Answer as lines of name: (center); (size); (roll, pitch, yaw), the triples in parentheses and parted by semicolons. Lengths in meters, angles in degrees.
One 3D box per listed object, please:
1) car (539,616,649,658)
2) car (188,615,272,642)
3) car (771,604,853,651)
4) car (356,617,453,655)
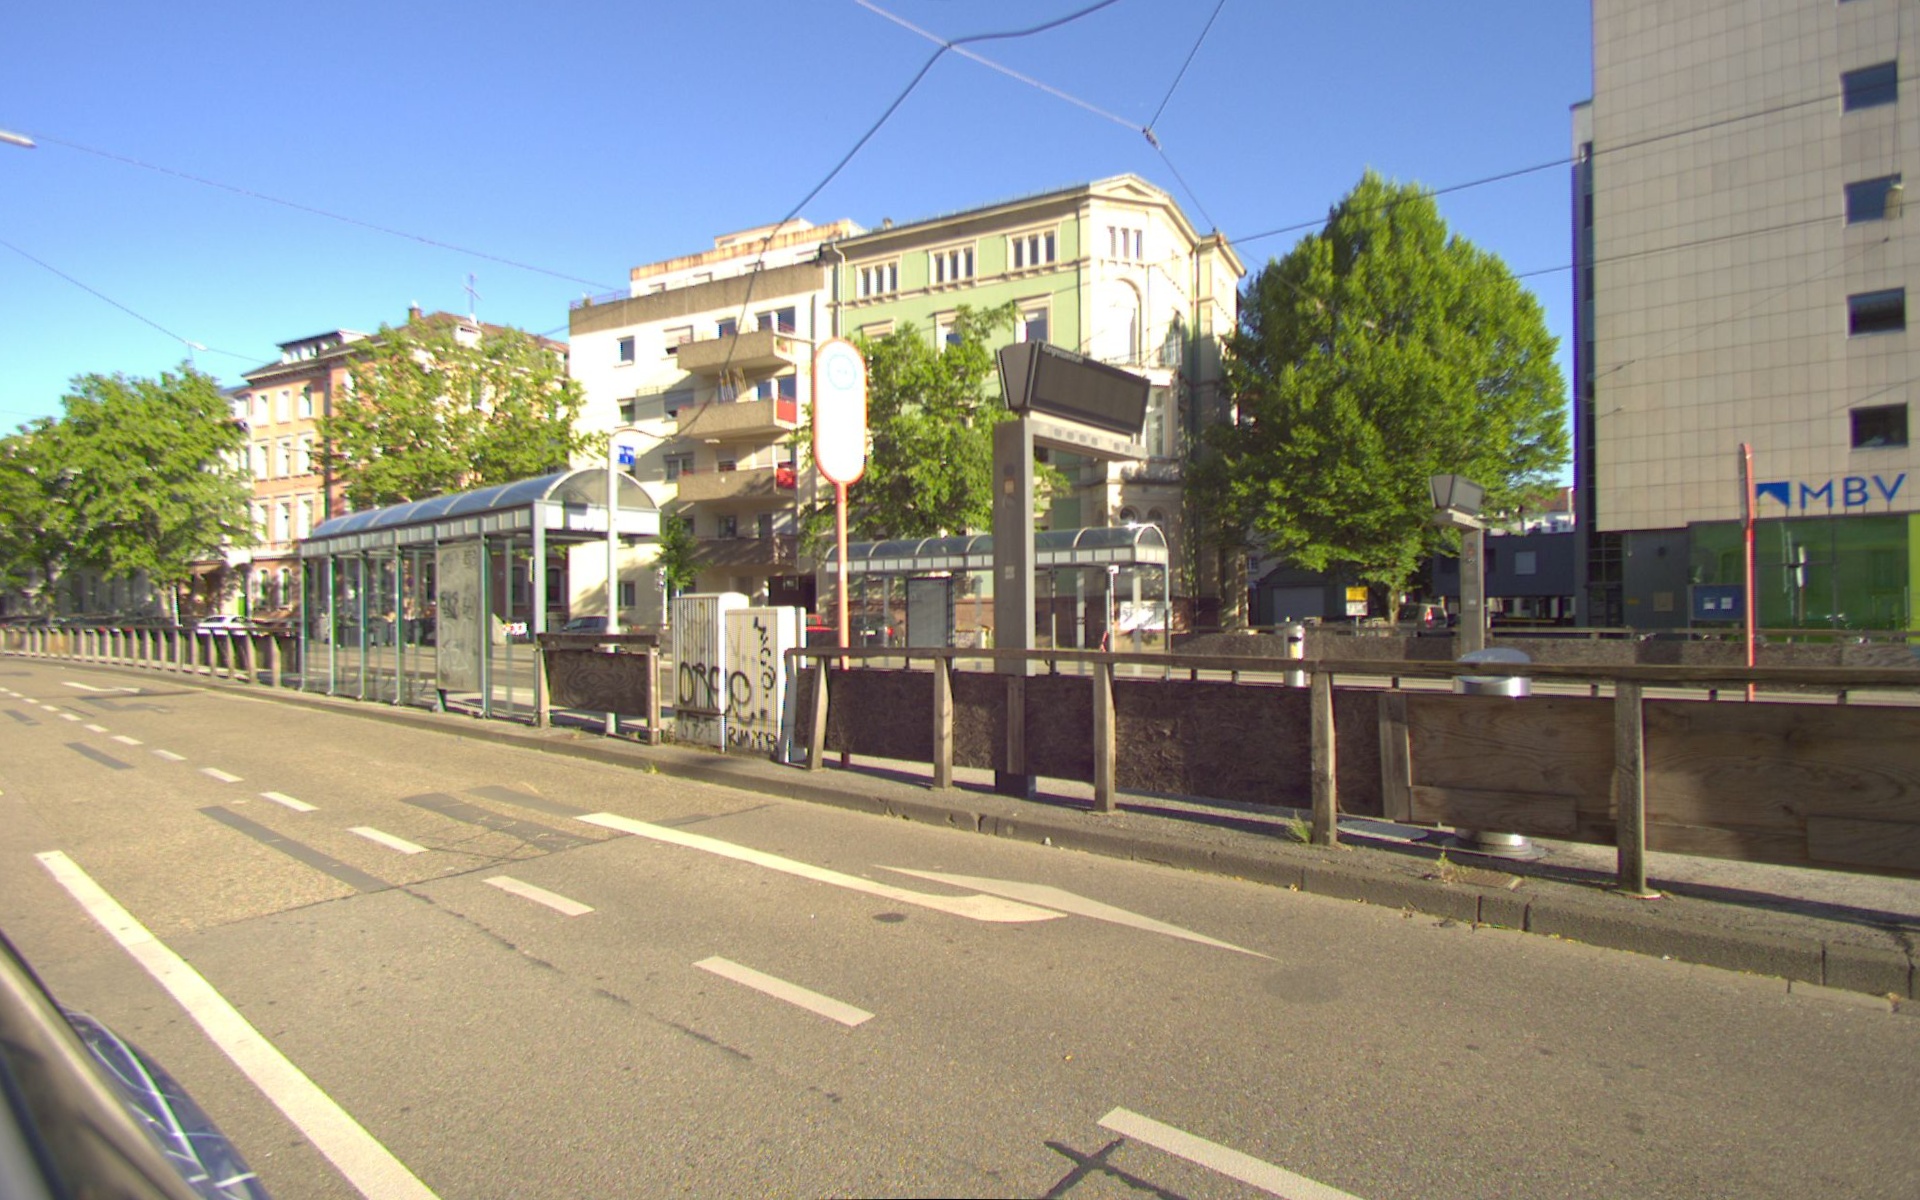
car: (-14.025, 1.391, 38.739); (3.987, 1.541, 1.978); (-1, -2, 32)
car: (-39.082, 1.509, 54.273); (1.565, 1.360, 3.631); (0, -1, 11)
car: (-6.679, 1.231, 45.998); (1.791, 2.029, 3.963); (-1, -1, 27)
car: (-23.965, 1.536, 43.644); (3.987, 1.541, 1.978); (-1, -2, 32)
